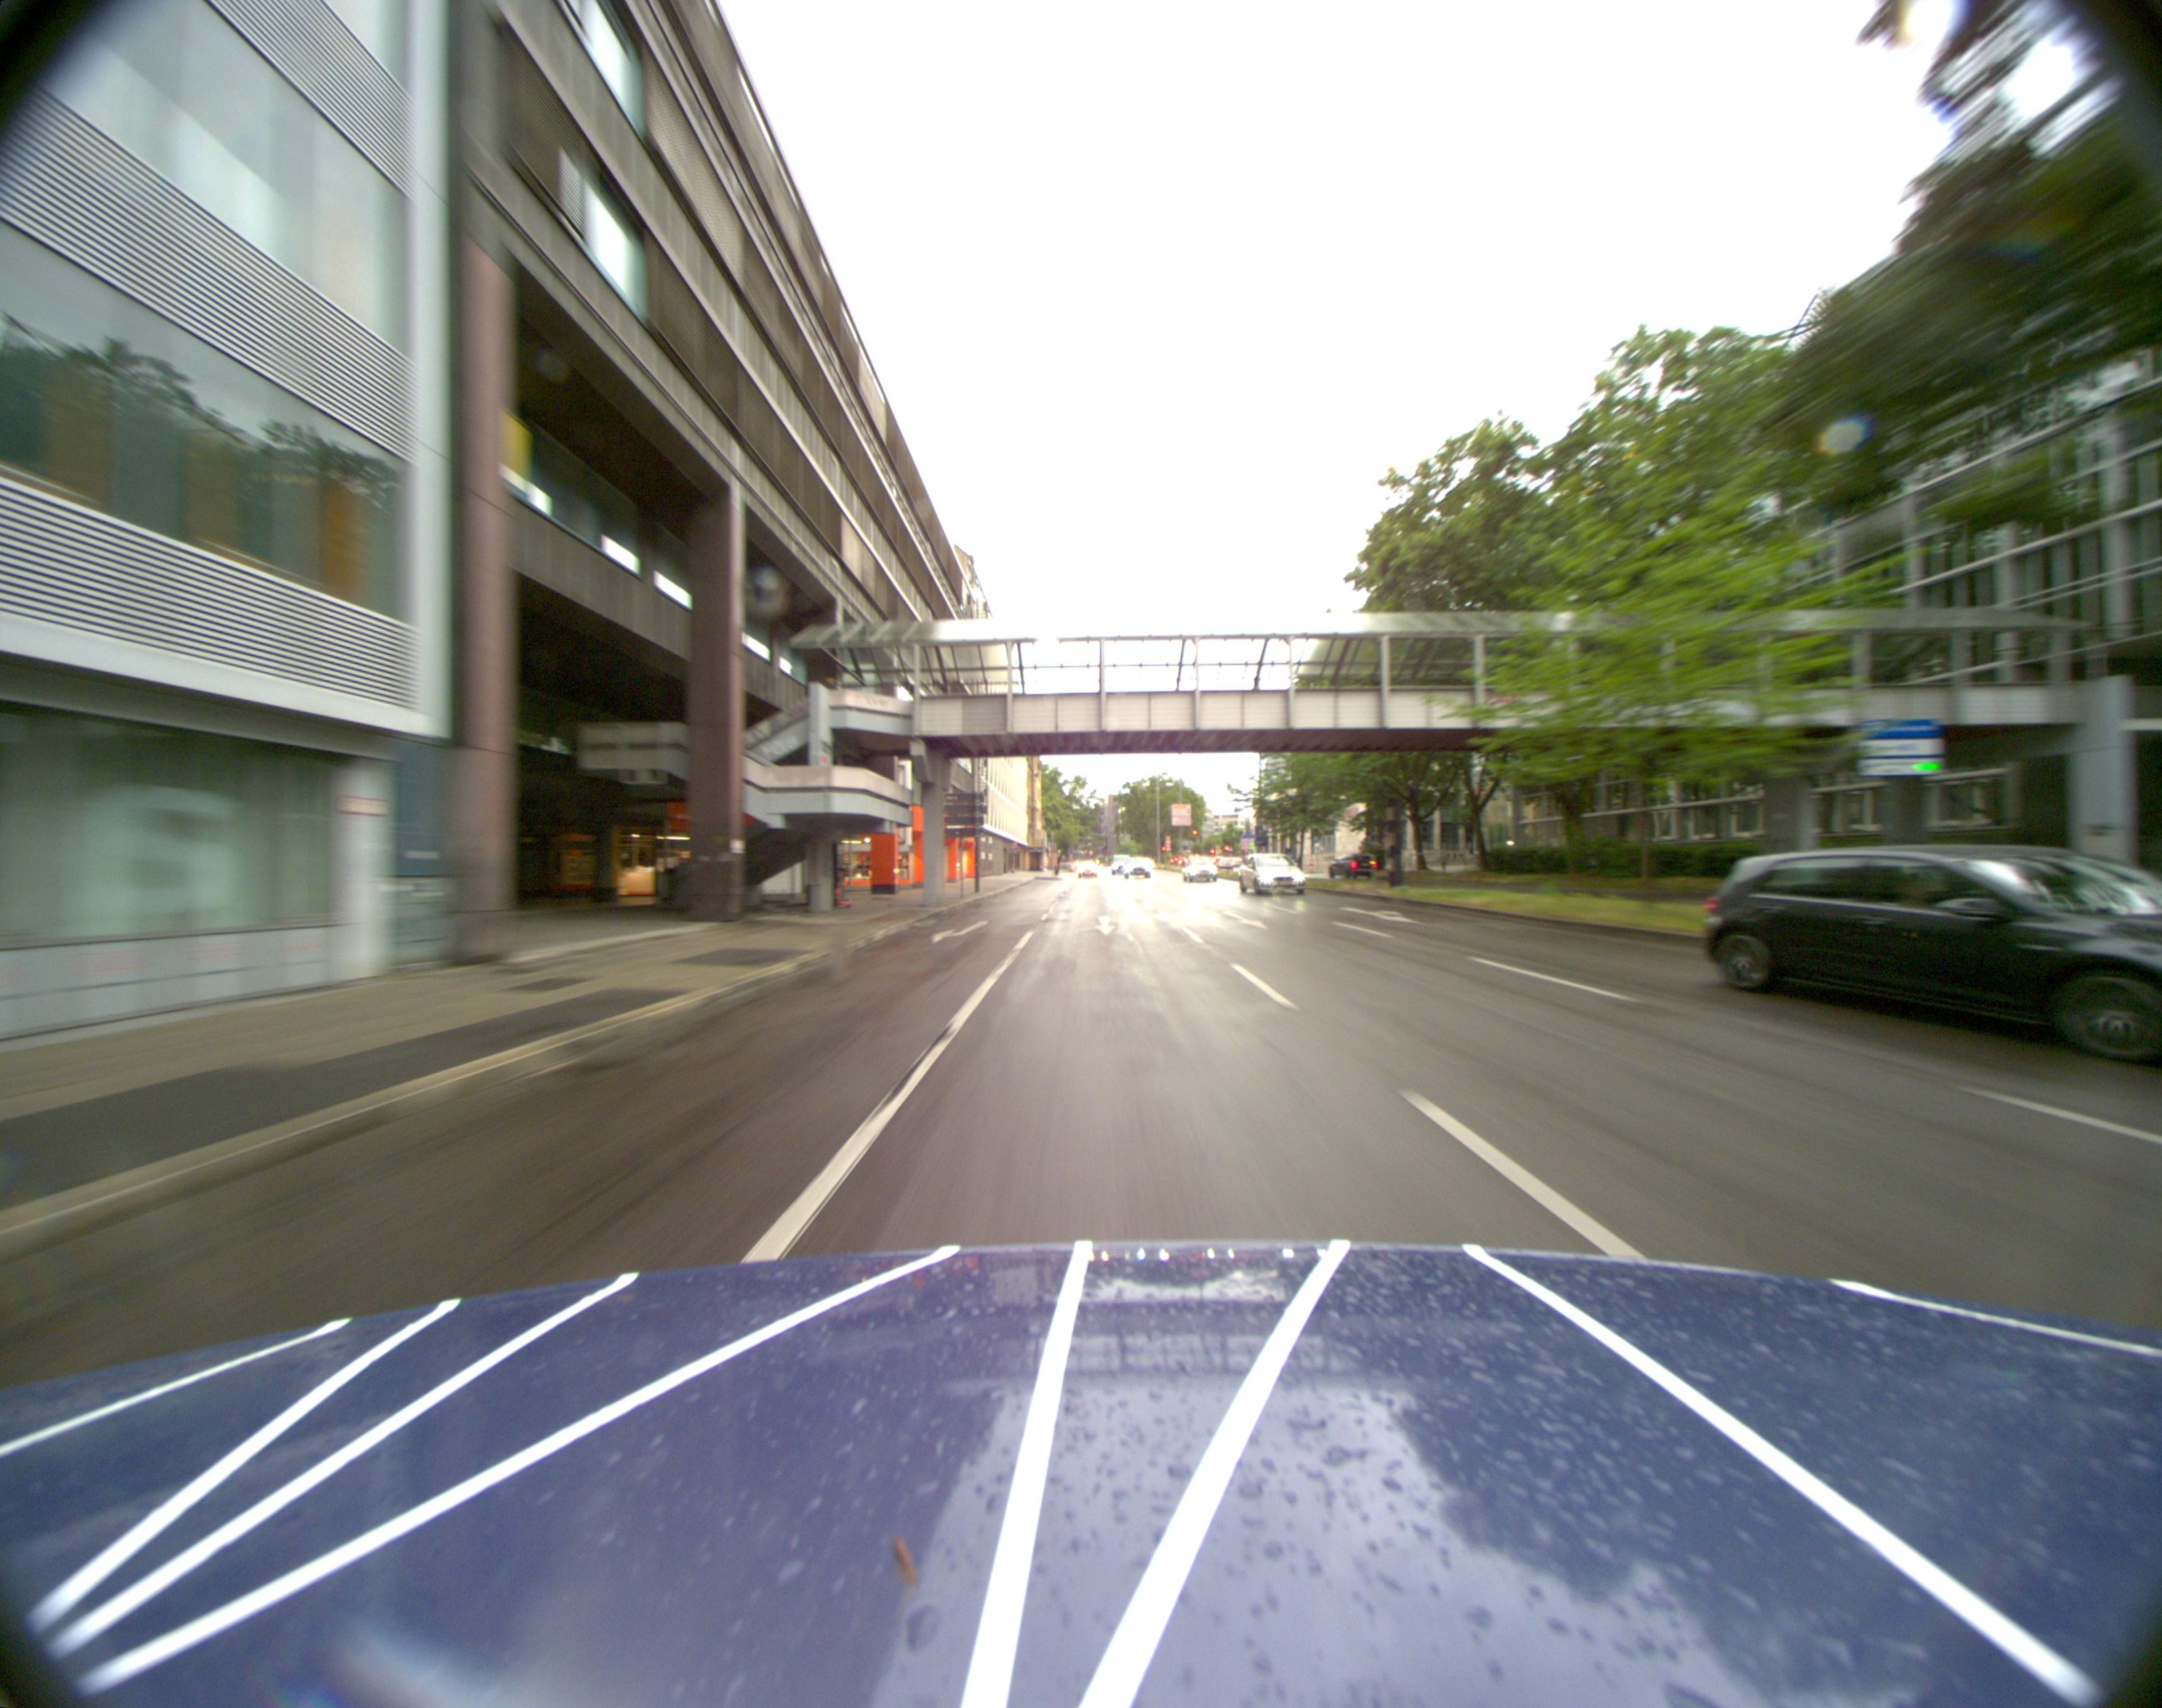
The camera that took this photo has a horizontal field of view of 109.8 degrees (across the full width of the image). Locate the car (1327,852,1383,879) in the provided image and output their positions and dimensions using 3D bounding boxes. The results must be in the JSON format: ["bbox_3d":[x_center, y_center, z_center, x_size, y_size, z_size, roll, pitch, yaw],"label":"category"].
[{"bbox_3d":[19.492,0.810,54.333,2.005,1.758,5.184,2,0,-1],"label":"car"}]

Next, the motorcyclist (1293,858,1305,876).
[{"bbox_3d":[16.699,0.990,58.127,0.639,1.410,0.970,-1,1,1],"label":"motorcyclist"}]

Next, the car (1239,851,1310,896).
[{"bbox_3d":[7.504,0.699,29.878,1.781,1.587,3.999,-1,1,0],"label":"car"}]

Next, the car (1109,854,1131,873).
[{"bbox_3d":[3.740,0.881,73.335,1.998,1.733,3.910,-1,0,2],"label":"car"}]

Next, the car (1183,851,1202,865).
[{"bbox_3d":[14.440,0.501,98.560,1.878,1.670,4.680,-1,1,1],"label":"car"}]

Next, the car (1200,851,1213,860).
[{"bbox_3d":[20.029,0.262,121.586,1.730,1.424,4.396,-1,1,4],"label":"car"}]

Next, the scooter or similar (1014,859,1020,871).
[{"bbox_3d":[-6.684,1.130,79.367,0.412,1.229,1.190,-1,0,9],"label":"scooter or similar"}]

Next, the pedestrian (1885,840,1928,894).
[{"bbox_3d":[27.674,0.434,25.490,0.598,1.797,0.760,-1,0,1],"label":"pedestrian"}]

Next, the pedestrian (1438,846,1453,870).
[{"bbox_3d":[27.948,0.284,58.236,0.736,1.797,0.802,-1,0,1],"label":"pedestrian"}]

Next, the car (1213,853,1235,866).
[{"bbox_3d":[17.089,0.643,90.921,1.666,1.455,4.080,1,0,-1],"label":"car"}]

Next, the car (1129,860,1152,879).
[{"bbox_3d":[4.548,1.150,57.767,1.716,1.432,3.496,0,0,6],"label":"car"}]

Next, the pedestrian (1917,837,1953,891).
[{"bbox_3d":[28.667,0.328,25.517,0.607,1.797,0.511,-1,0,1],"label":"pedestrian"}]

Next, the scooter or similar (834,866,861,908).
[{"bbox_3d":[-7.163,0.997,23.377,0.350,1.248,1.395,-1,0,1],"label":"scooter or similar"}]

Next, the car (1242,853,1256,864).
[{"bbox_3d":[23.549,0.601,106.663,1.595,1.407,3.402,-1,1,5],"label":"car"}]

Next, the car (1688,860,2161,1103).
[{"bbox_3d":[7.503,0.801,6.127,1.789,1.444,4.122,-1,0,-3],"label":"car"}]

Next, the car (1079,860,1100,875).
[{"bbox_3d":[0.738,1.169,66.193,1.716,1.274,3.494,0,0,2],"label":"car"}]

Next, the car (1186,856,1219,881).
[{"bbox_3d":[7.472,0.869,46.973,1.611,1.433,3.494,-3,0,3],"label":"car"}]

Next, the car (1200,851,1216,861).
[{"bbox_3d":[18.528,0.245,110.977,1.695,1.430,4.759,-1,1,1],"label":"car"}]

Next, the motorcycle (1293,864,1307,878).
[{"bbox_3d":[16.709,1.321,58.060,0.586,1.015,1.805,-1,0,1],"label":"motorcycle"}]

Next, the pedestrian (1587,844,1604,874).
[{"bbox_3d":[28.475,0.270,42.089,0.561,1.676,0.511,-1,0,1],"label":"pedestrian"}]
